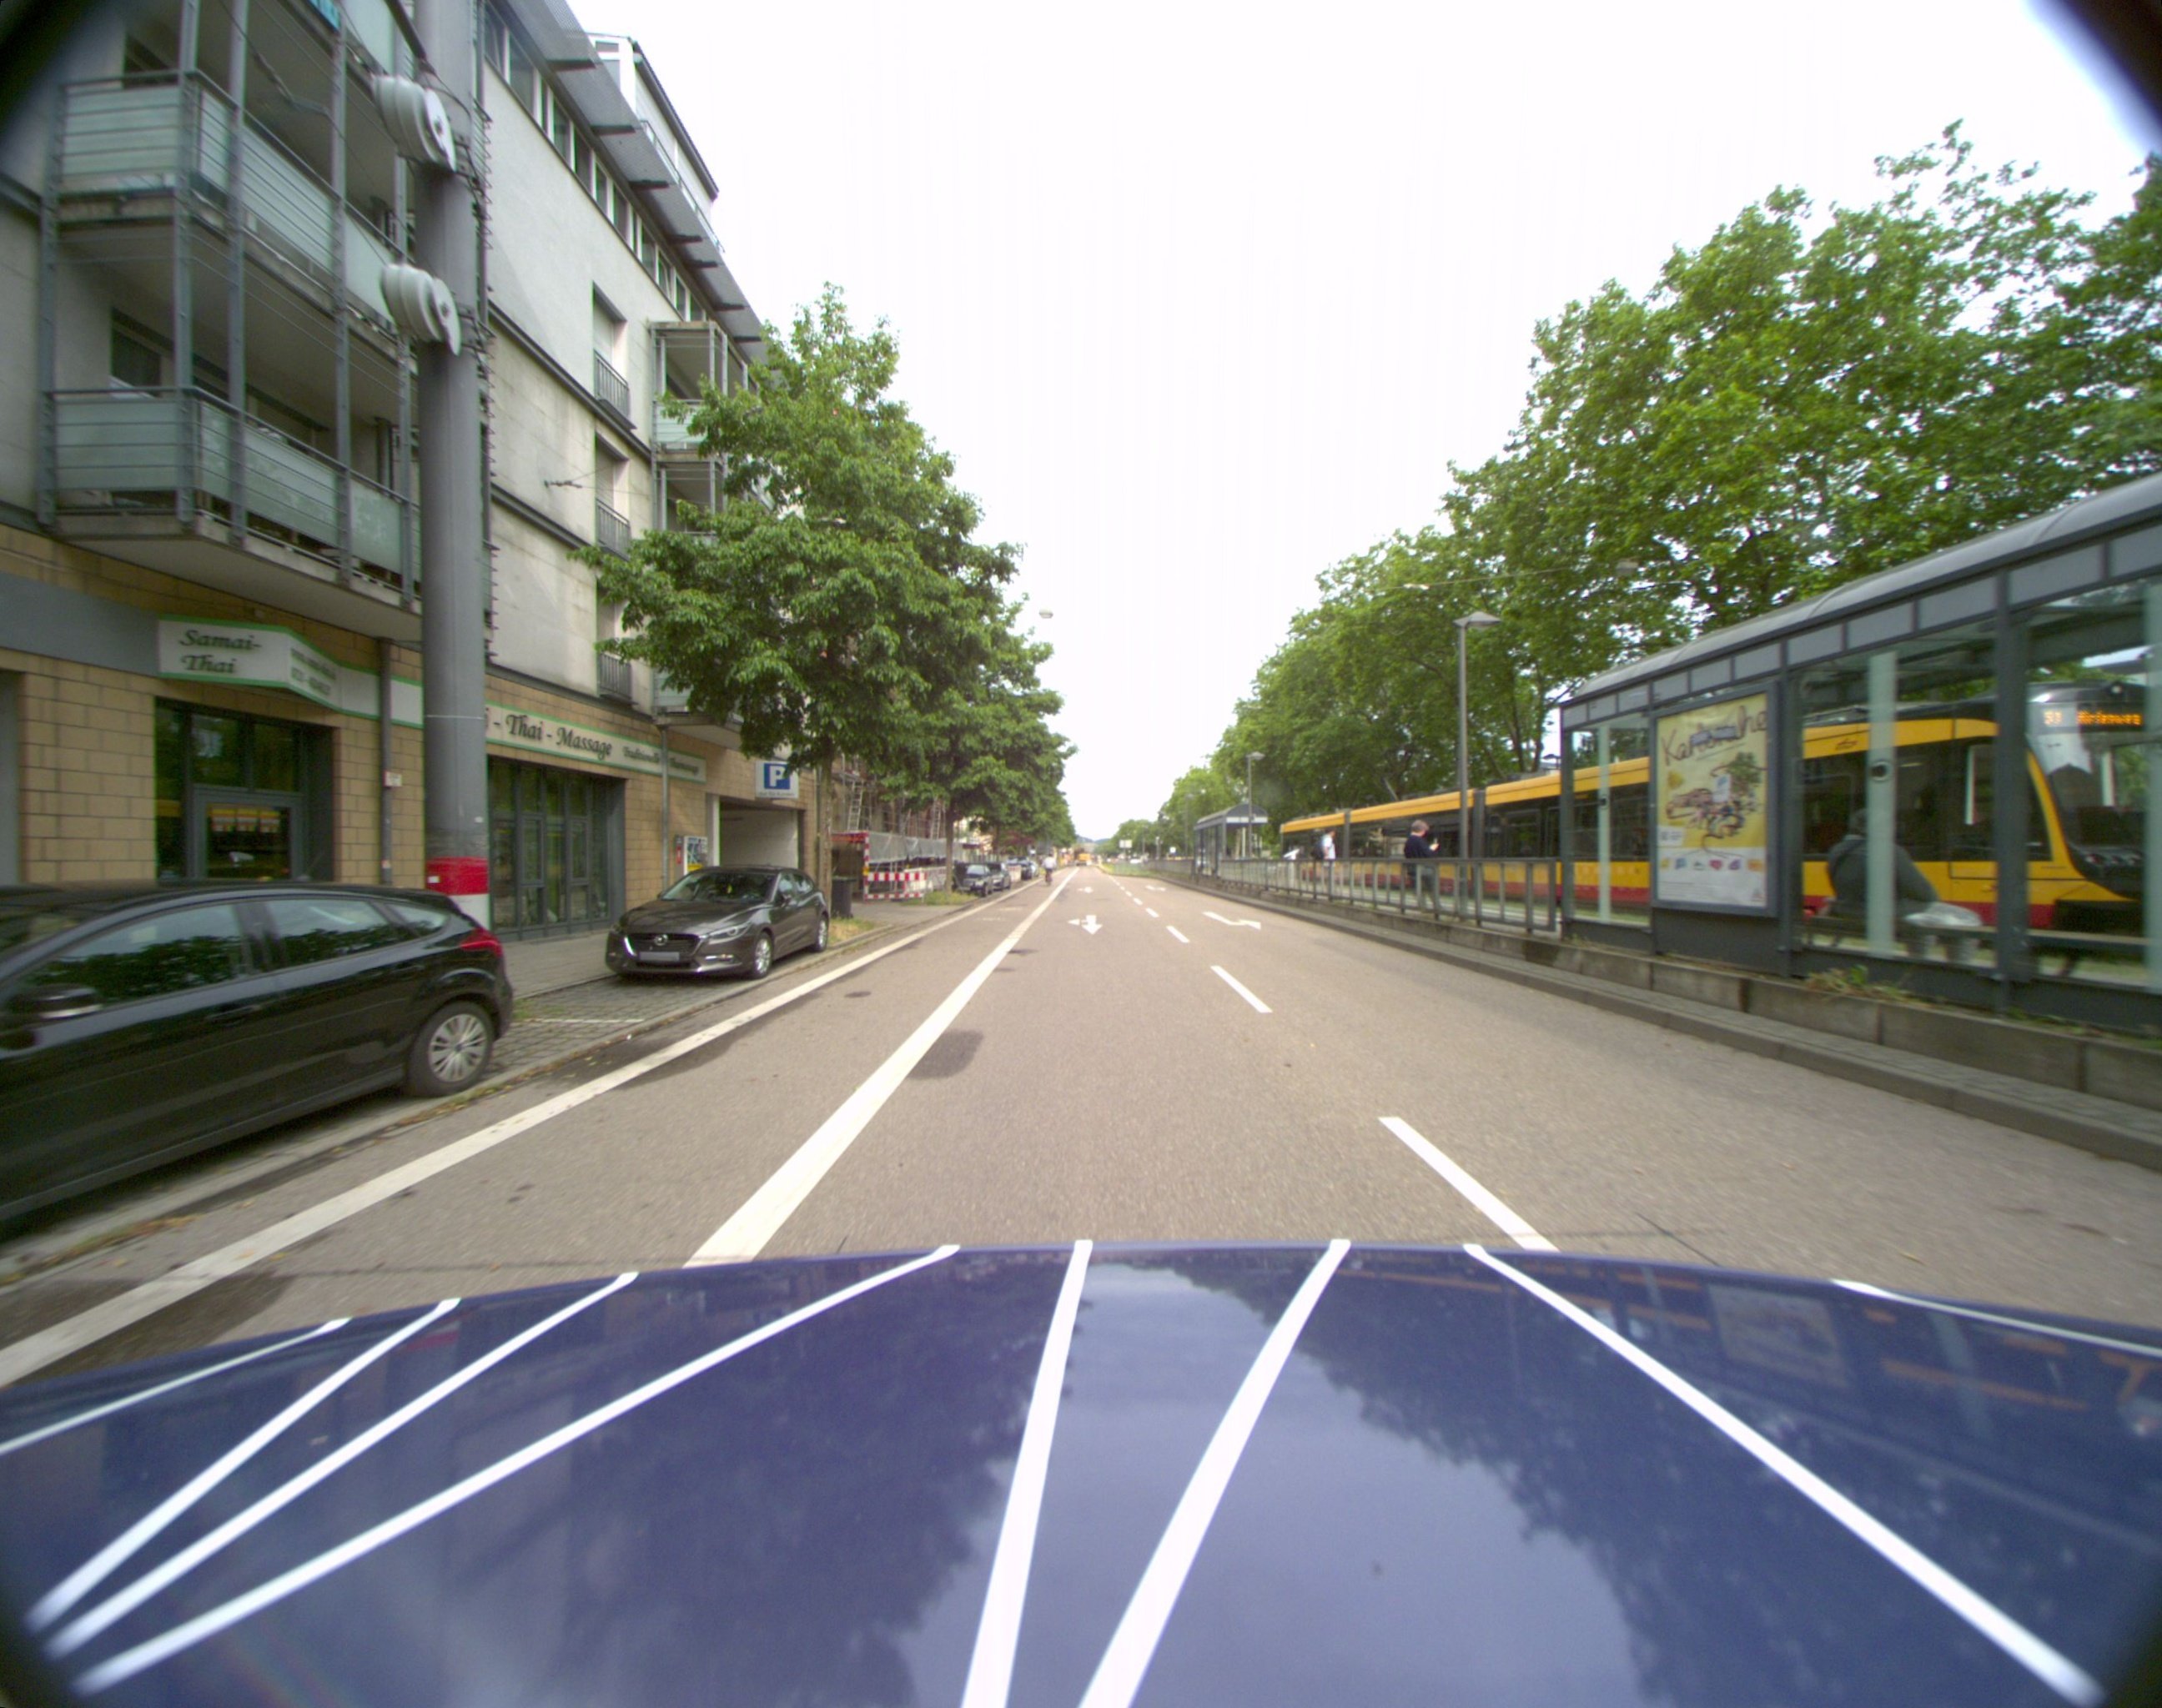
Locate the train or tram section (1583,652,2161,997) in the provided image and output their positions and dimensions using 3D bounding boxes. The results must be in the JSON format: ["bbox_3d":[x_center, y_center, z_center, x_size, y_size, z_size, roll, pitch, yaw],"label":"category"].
[{"bbox_3d":[12.535,-0.338,9.092,3.067,3.511,15.294,-2,0,1],"label":"train or tram section"}]

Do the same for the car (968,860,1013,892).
[{"bbox_3d":[-4.534,1.073,38.528,1.755,1.452,4.279,1,0,0],"label":"car"}]

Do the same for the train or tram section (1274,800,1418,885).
[{"bbox_3d":[12.922,-0.514,38.724,3.100,3.541,12.539,-2,0,1],"label":"train or tram section"}]

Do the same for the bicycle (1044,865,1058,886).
[{"bbox_3d":[-1.714,1.242,43.526,0.613,1.116,2.050,-2,0,1],"label":"bicycle"}]

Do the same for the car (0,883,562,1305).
[{"bbox_3d":[-4.922,0.976,3.658,1.680,1.433,4.408,2,0,2],"label":"car"}]

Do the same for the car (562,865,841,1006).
[{"bbox_3d":[-4.999,0.964,10.814,1.802,1.447,4.388,2,0,-1],"label":"car"}]

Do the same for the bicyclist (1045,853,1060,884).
[{"bbox_3d":[-1.654,0.819,44.126,0.751,1.776,0.838,-2,1,1],"label":"bicyclist"}]

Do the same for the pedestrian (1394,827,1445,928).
[{"bbox_3d":[5.630,0.377,12.665,0.513,1.623,0.730,-2,1,2],"label":"pedestrian"}]

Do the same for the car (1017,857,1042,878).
[{"bbox_3d":[-4.310,1.112,64.113,1.837,1.685,3.762,1,0,0],"label":"car"}]

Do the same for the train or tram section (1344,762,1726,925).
[{"bbox_3d":[12.739,-0.259,24.617,3.067,3.511,15.771,-2,0,1],"label":"train or tram section"}]

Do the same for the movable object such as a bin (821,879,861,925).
[{"bbox_3d":[-5.640,1.116,17.891,0.764,1.048,0.541,1,1,1],"label":"movable object such as a bin"}]

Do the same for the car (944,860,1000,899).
[{"bbox_3d":[-4.602,1.036,32.622,1.755,1.452,4.279,1,0,0],"label":"car"}]

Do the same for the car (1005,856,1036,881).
[{"bbox_3d":[-4.326,1.013,54.820,1.837,1.720,4.279,1,0,0],"label":"car"}]

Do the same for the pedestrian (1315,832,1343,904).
[{"bbox_3d":[5.654,0.315,17.303,0.480,1.623,0.392,-2,1,2],"label":"pedestrian"}]
